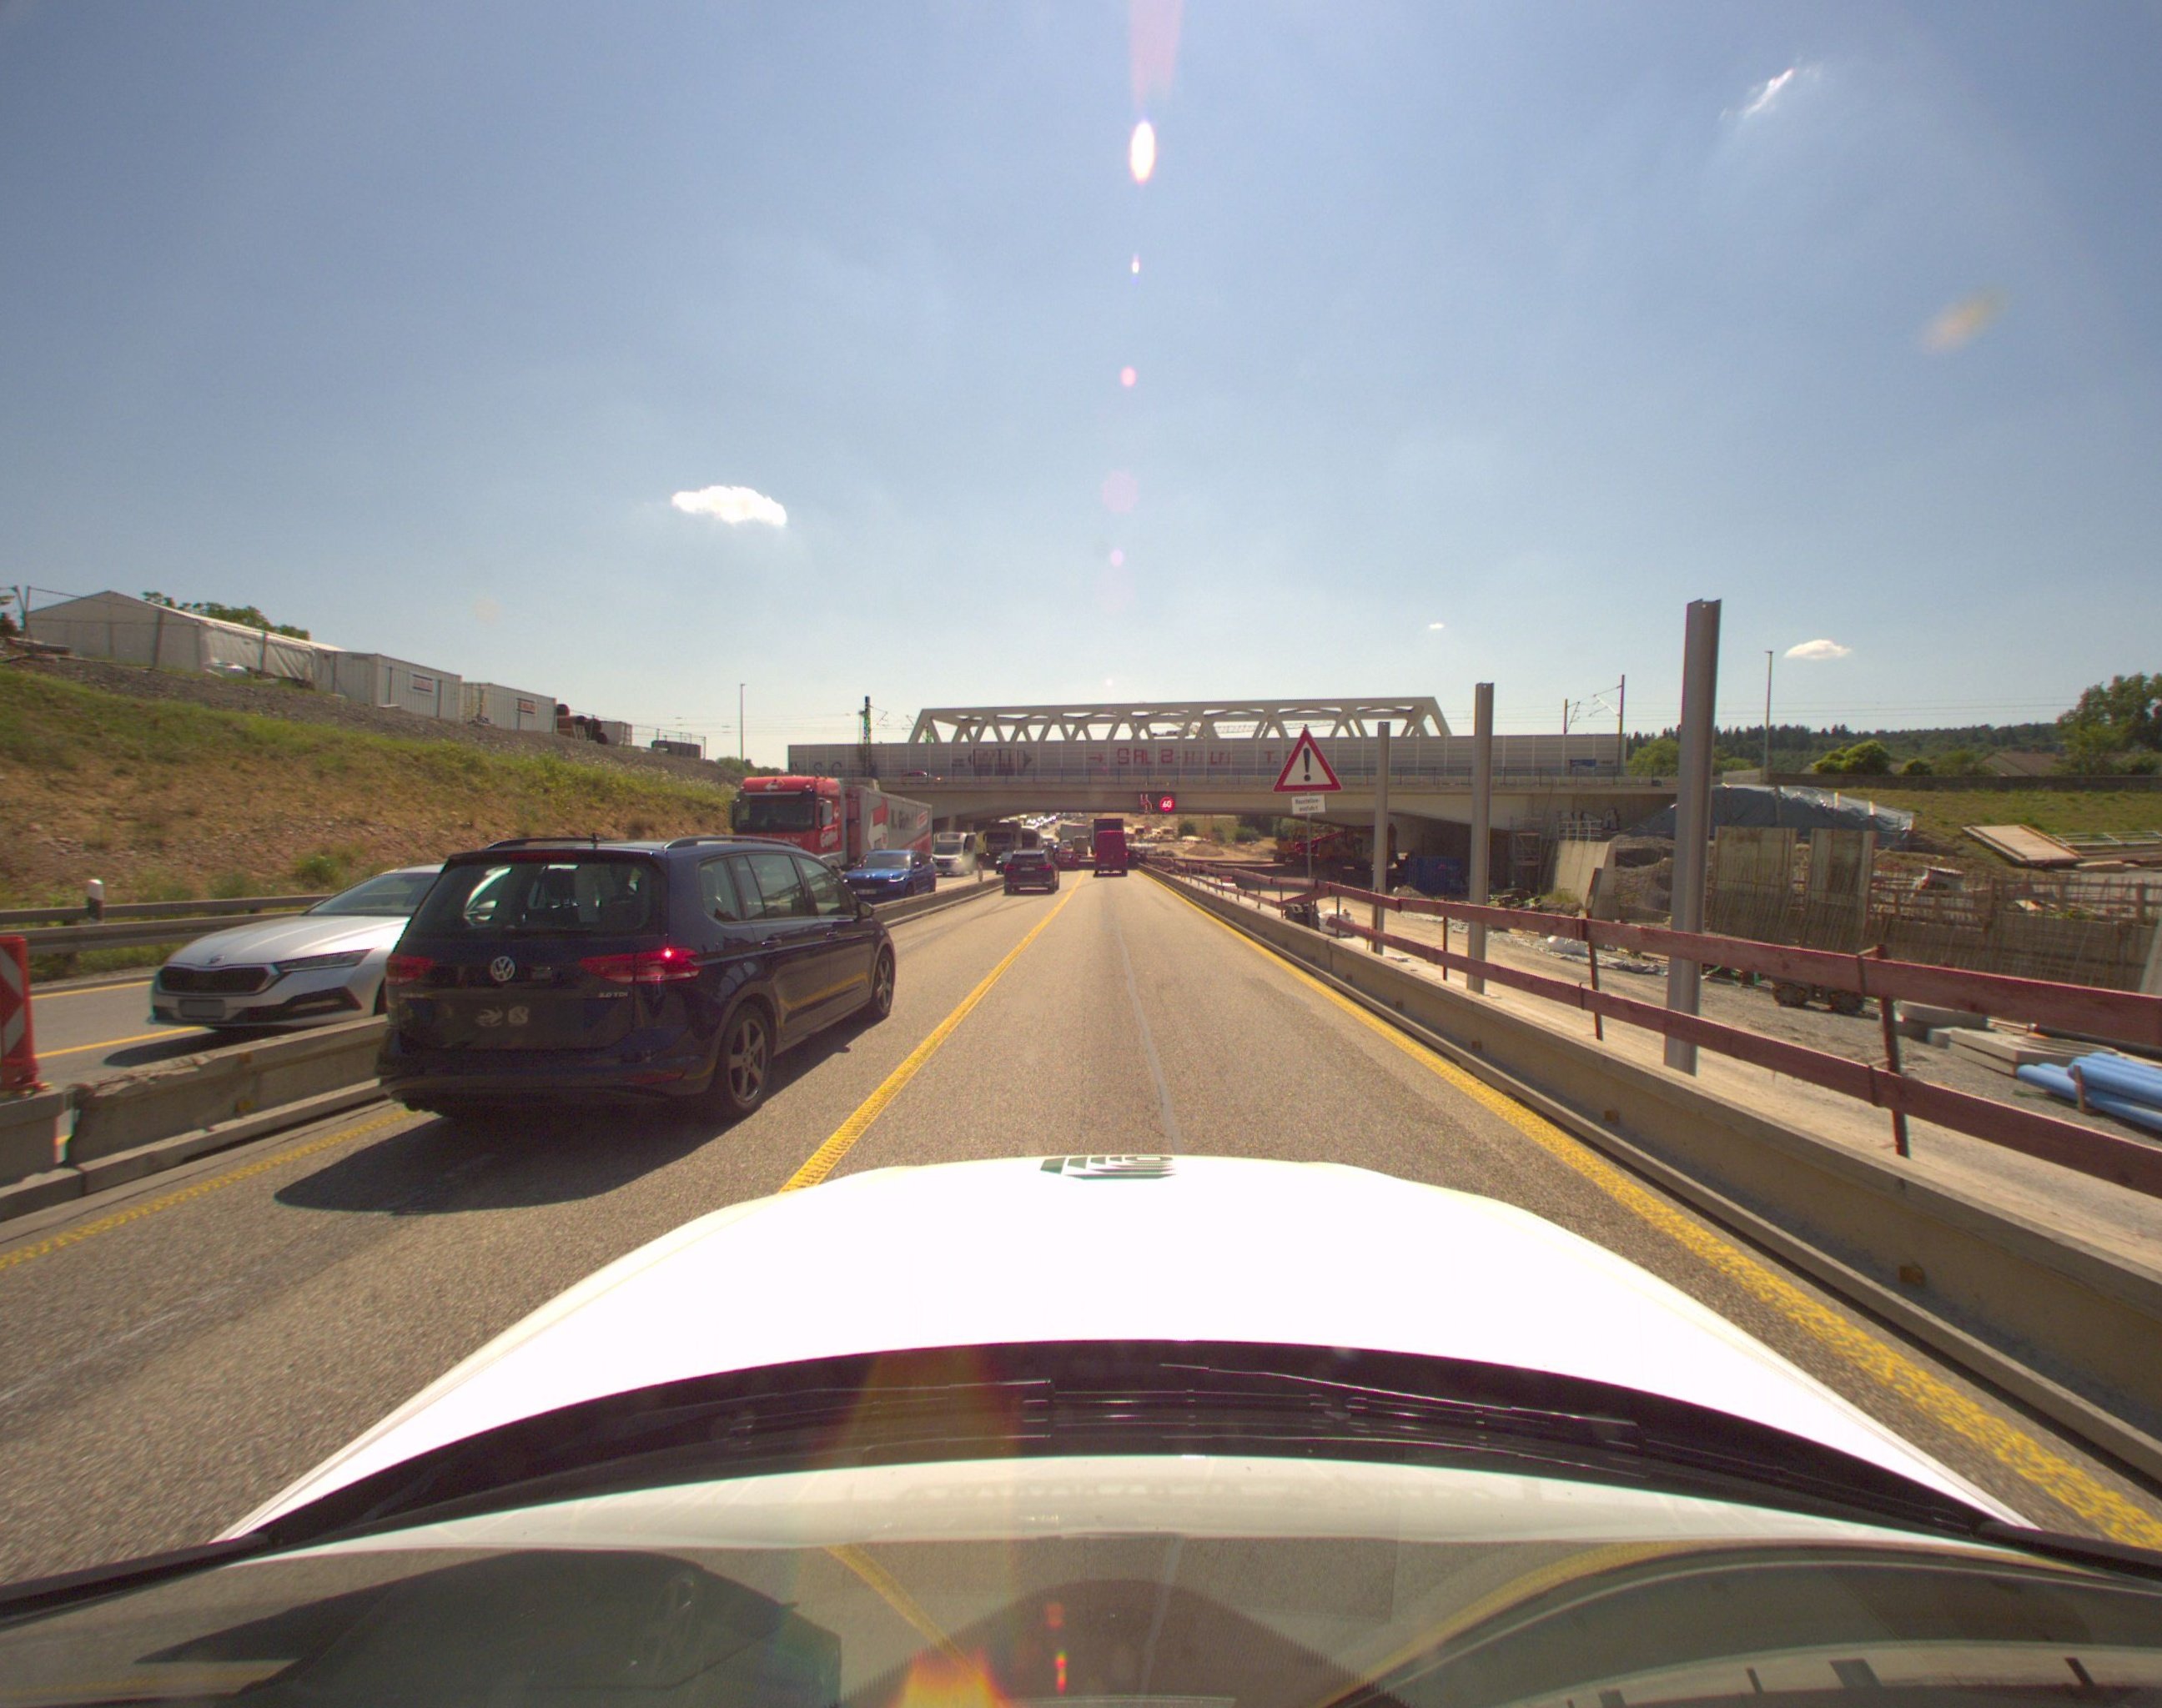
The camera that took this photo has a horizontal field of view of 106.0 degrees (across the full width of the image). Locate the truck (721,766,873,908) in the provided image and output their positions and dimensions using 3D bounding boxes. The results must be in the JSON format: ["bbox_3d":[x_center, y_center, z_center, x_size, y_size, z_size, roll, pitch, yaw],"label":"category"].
[{"bbox_3d":[-8.403,-0.434,24.784,2.575,3.828,5.383,0,-1,2],"label":"truck"}]

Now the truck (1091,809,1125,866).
[{"bbox_3d":[2.358,-1.619,73.953,2.934,4.944,6.744,0,3,1],"label":"truck"}]

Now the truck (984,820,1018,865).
[{"bbox_3d":[-7.463,-1.037,76.467,2.789,4.150,4.073,0,-1,0],"label":"truck"}]

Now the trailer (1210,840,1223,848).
[{"bbox_3d":[24.691,-1.811,148.331,1.619,1.486,3.824,0,1,-2],"label":"trailer"}]

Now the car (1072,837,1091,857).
[{"bbox_3d":[0.047,-0.970,109.185,2.261,2.354,5.153,0,3,-4],"label":"car"}]

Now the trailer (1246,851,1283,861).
[{"bbox_3d":[25.289,0.284,112.150,4.696,1.219,2.056,0,0,1],"label":"trailer"}]

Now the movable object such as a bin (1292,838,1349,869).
[{"bbox_3d":[24.674,-0.063,84.030,5.214,3.056,2.500,1,0,5],"label":"movable object such as a bin"}]

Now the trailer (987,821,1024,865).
[{"bbox_3d":[-7.433,-1.013,80.903,2.803,4.174,8.242,0,0,0],"label":"trailer"}]

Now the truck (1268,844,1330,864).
[{"bbox_3d":[24.921,-0.023,93.408,6.491,2.073,2.669,1,1,4],"label":"truck"}]

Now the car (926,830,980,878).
[{"bbox_3d":[-7.931,0.006,51.137,2.267,2.821,6.558,0,0,0],"label":"car"}]

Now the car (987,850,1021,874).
[{"bbox_3d":[-5.139,0.484,54.749,1.747,1.517,4.189,0,1,2],"label":"car"}]

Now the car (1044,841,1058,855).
[{"bbox_3d":[-4.026,-0.829,110.579,1.794,1.932,4.967,0,1,0],"label":"car"}]

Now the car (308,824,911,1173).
[{"bbox_3d":[-2.690,0.673,6.029,1.727,1.635,4.393,0,0,3],"label":"car"}]

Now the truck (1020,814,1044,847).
[{"bbox_3d":[-6.583,-3.114,109.632,2.649,4.171,5.189,0,-1,2],"label":"truck"}]

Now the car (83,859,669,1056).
[{"bbox_3d":[-6.513,0.795,8.426,1.824,1.429,4.542,0,0,6],"label":"car"}]

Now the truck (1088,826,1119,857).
[{"bbox_3d":[3.099,-1.764,113.402,3.180,3.988,6.724,-1,3,-8],"label":"truck"}]

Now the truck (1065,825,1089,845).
[{"bbox_3d":[-0.826,-3.413,150.329,3.217,3.360,8.916,0,0,-8],"label":"truck"}]

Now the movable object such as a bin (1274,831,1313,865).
[{"bbox_3d":[22.945,-0.588,88.149,3.855,3.542,2.913,1,0,12],"label":"movable object such as a bin"}]

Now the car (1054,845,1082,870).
[{"bbox_3d":[-0.905,0.228,60.475,1.827,1.777,4.391,0,0,2],"label":"car"}]

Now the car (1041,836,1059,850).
[{"bbox_3d":[-5.353,-1.903,139.136,1.983,2.330,6.031,-1,1,-13],"label":"car"}]

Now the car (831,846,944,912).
[{"bbox_3d":[-5.357,0.633,23.163,1.826,1.663,4.689,0,0,3],"label":"car"}]

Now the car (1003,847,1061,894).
[{"bbox_3d":[-1.787,0.579,30.850,1.827,1.635,4.390,0,0,1],"label":"car"}]

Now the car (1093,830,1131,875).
[{"bbox_3d":[1.880,-0.066,49.801,2.142,2.611,5.441,0,0,2],"label":"car"}]

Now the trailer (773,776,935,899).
[{"bbox_3d":[-8.110,-0.482,31.246,2.646,3.816,11.823,0,0,1],"label":"trailer"}]

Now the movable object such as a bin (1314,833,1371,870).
[{"bbox_3d":[24.593,-0.214,76.763,4.531,3.287,2.995,1,0,5],"label":"movable object such as a bin"}]

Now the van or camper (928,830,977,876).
[{"bbox_3d":[-7.985,-0.051,51.170,2.117,2.705,6.453,-1,0,-1],"label":"van or camper"}]
